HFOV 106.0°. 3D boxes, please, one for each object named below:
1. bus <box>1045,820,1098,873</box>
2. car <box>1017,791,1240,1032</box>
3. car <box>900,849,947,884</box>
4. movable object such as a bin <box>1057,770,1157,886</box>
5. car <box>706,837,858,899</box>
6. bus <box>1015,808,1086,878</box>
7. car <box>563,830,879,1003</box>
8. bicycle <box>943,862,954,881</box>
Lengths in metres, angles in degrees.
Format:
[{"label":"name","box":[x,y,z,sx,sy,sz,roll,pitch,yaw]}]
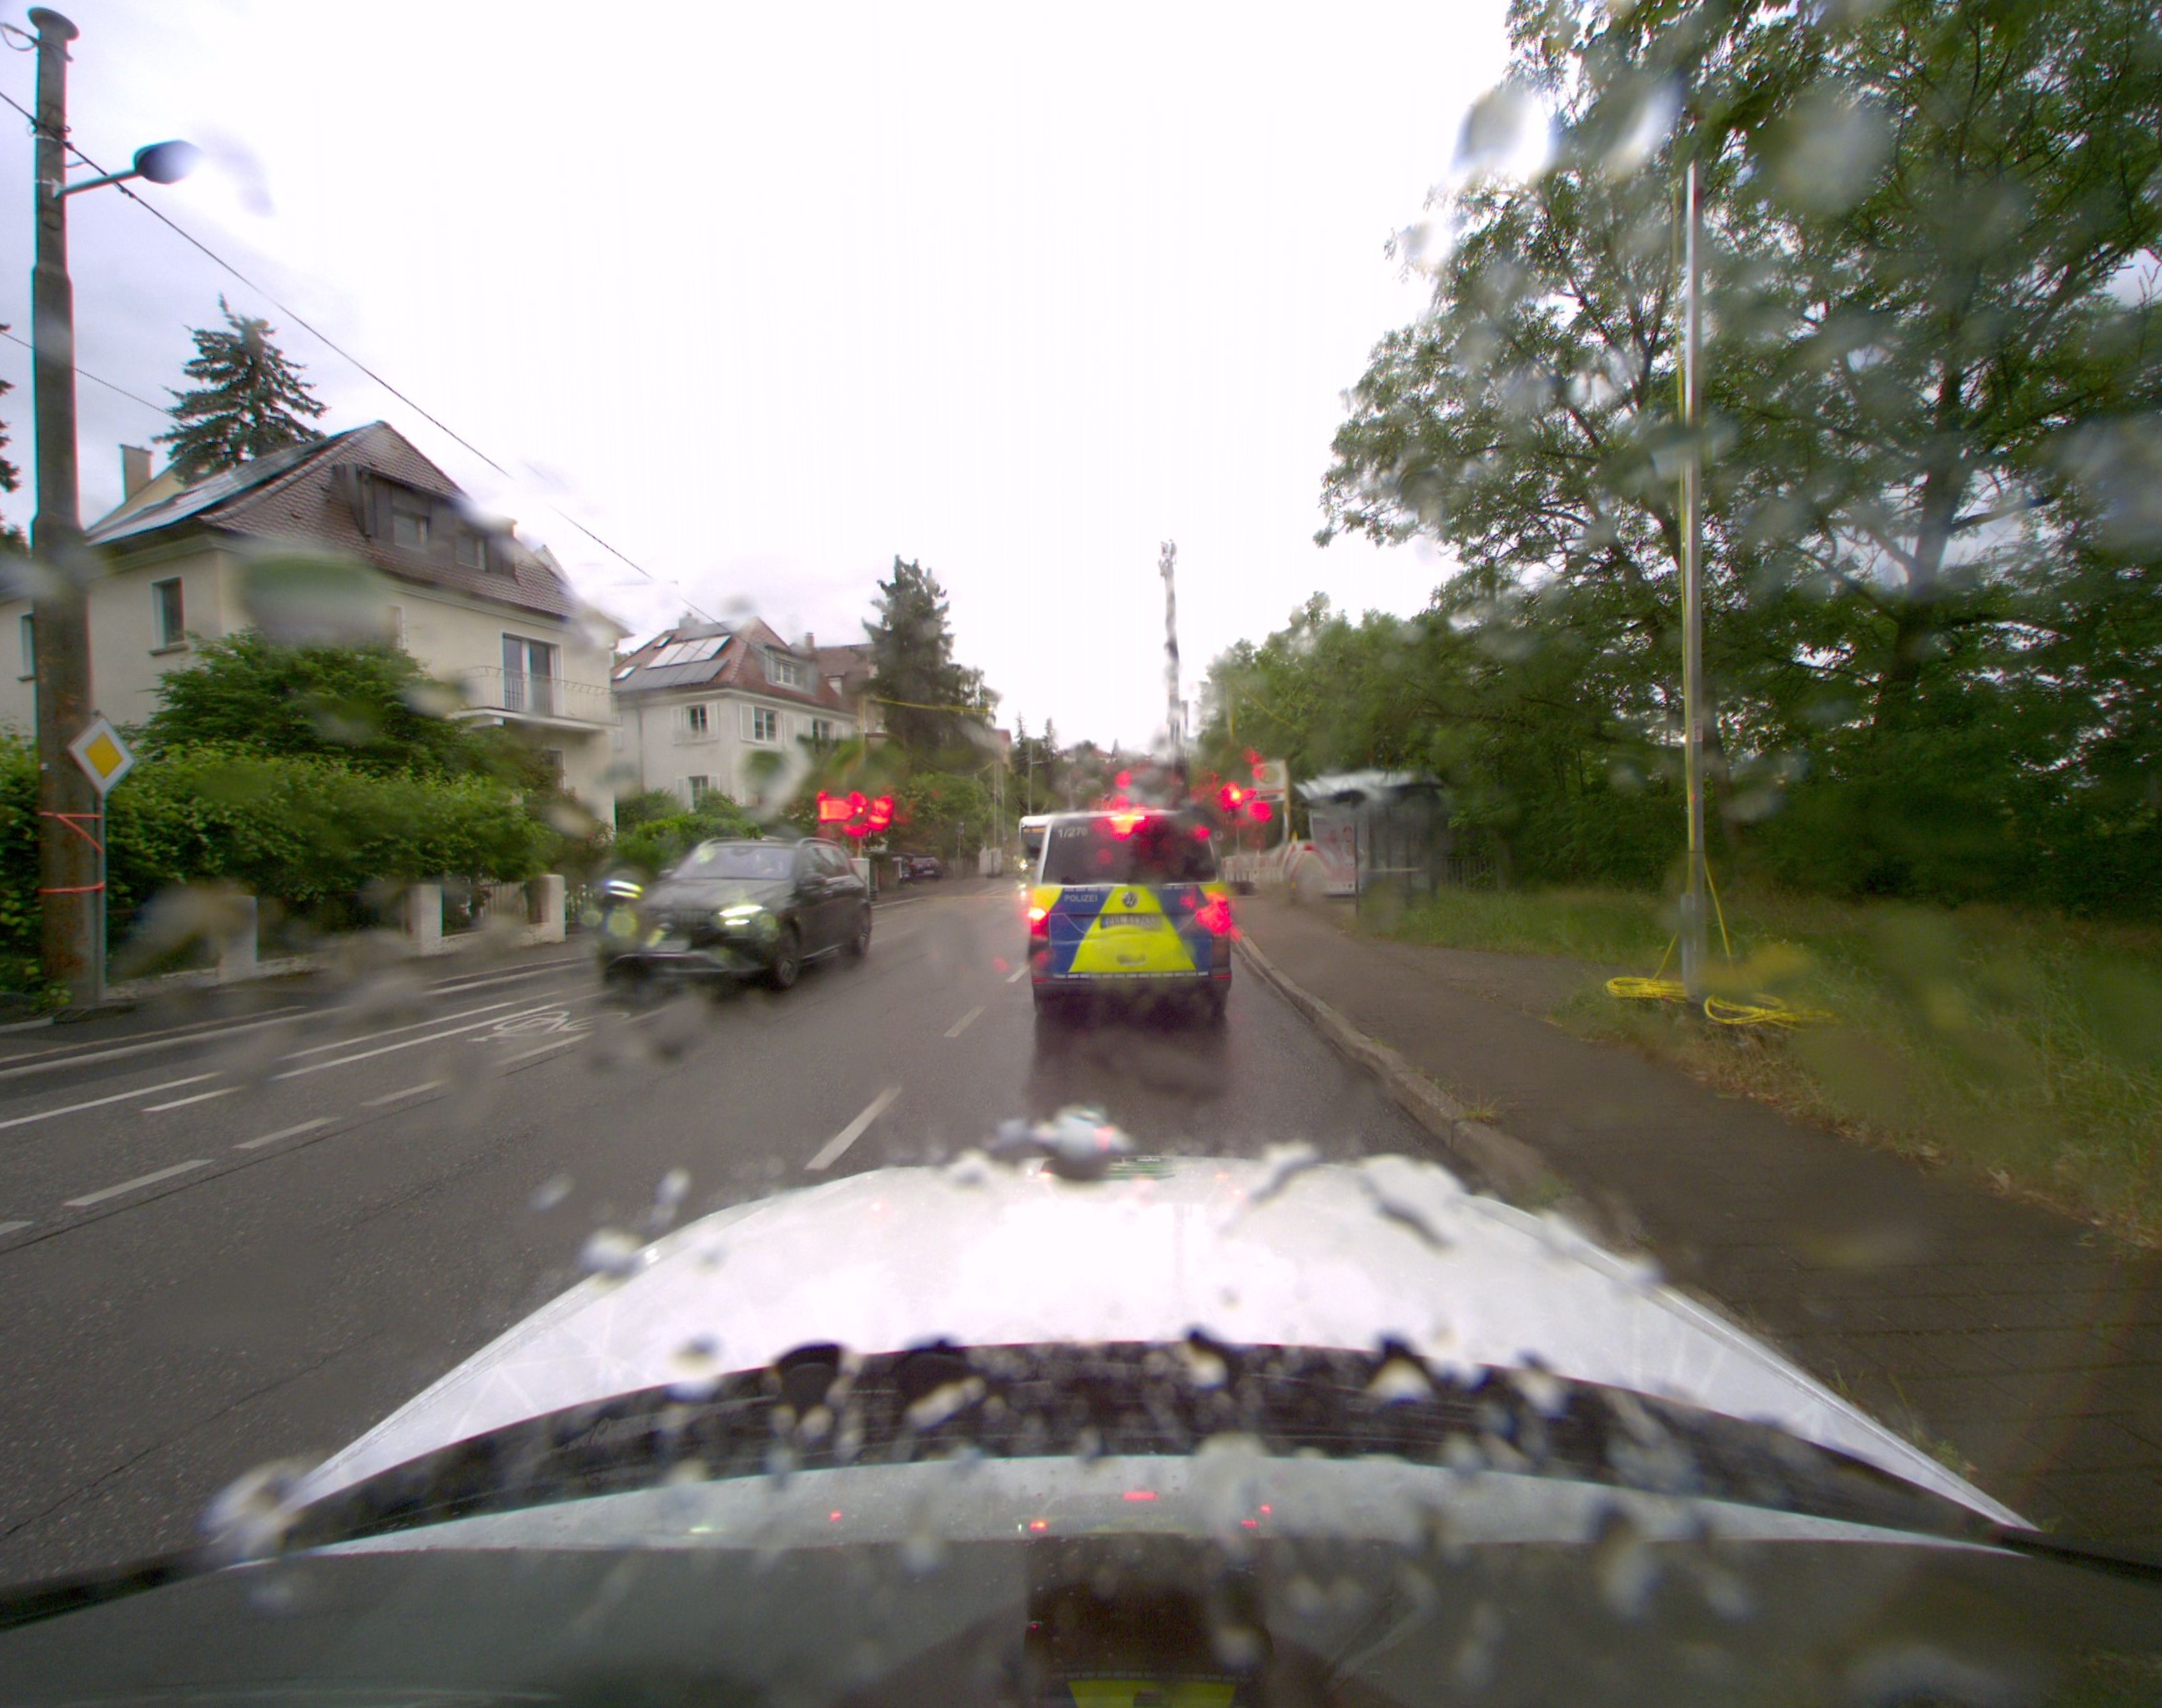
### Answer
[{"label":"bus","box":[-0.530,-0.552,61.692,2.827,3.625,12.022,0,0,5]},{"label":"car","box":[0.465,0.486,8.952,1.886,2.050,4.002,0,0,2]},{"label":"car","box":[-7.451,0.560,38.310,1.770,1.486,3.720,0,1,-17]},{"label":"movable object such as a bin","box":[1.109,-0.927,31.783,2.809,4.177,4.400,0,0,17]},{"label":"car","box":[-10.277,0.463,28.067,4.599,2.007,1.907,0,0,13]},{"label":"bus","box":[-1.588,-0.617,49.759,2.827,3.718,12.022,0,0,5]},{"label":"car","box":[-4.233,0.619,10.572,1.972,1.748,4.555,0,0,1]},{"label":"bicycle","box":[-6.496,0.830,39.900,0.463,0.897,1.627,-1,0,-12]}]
